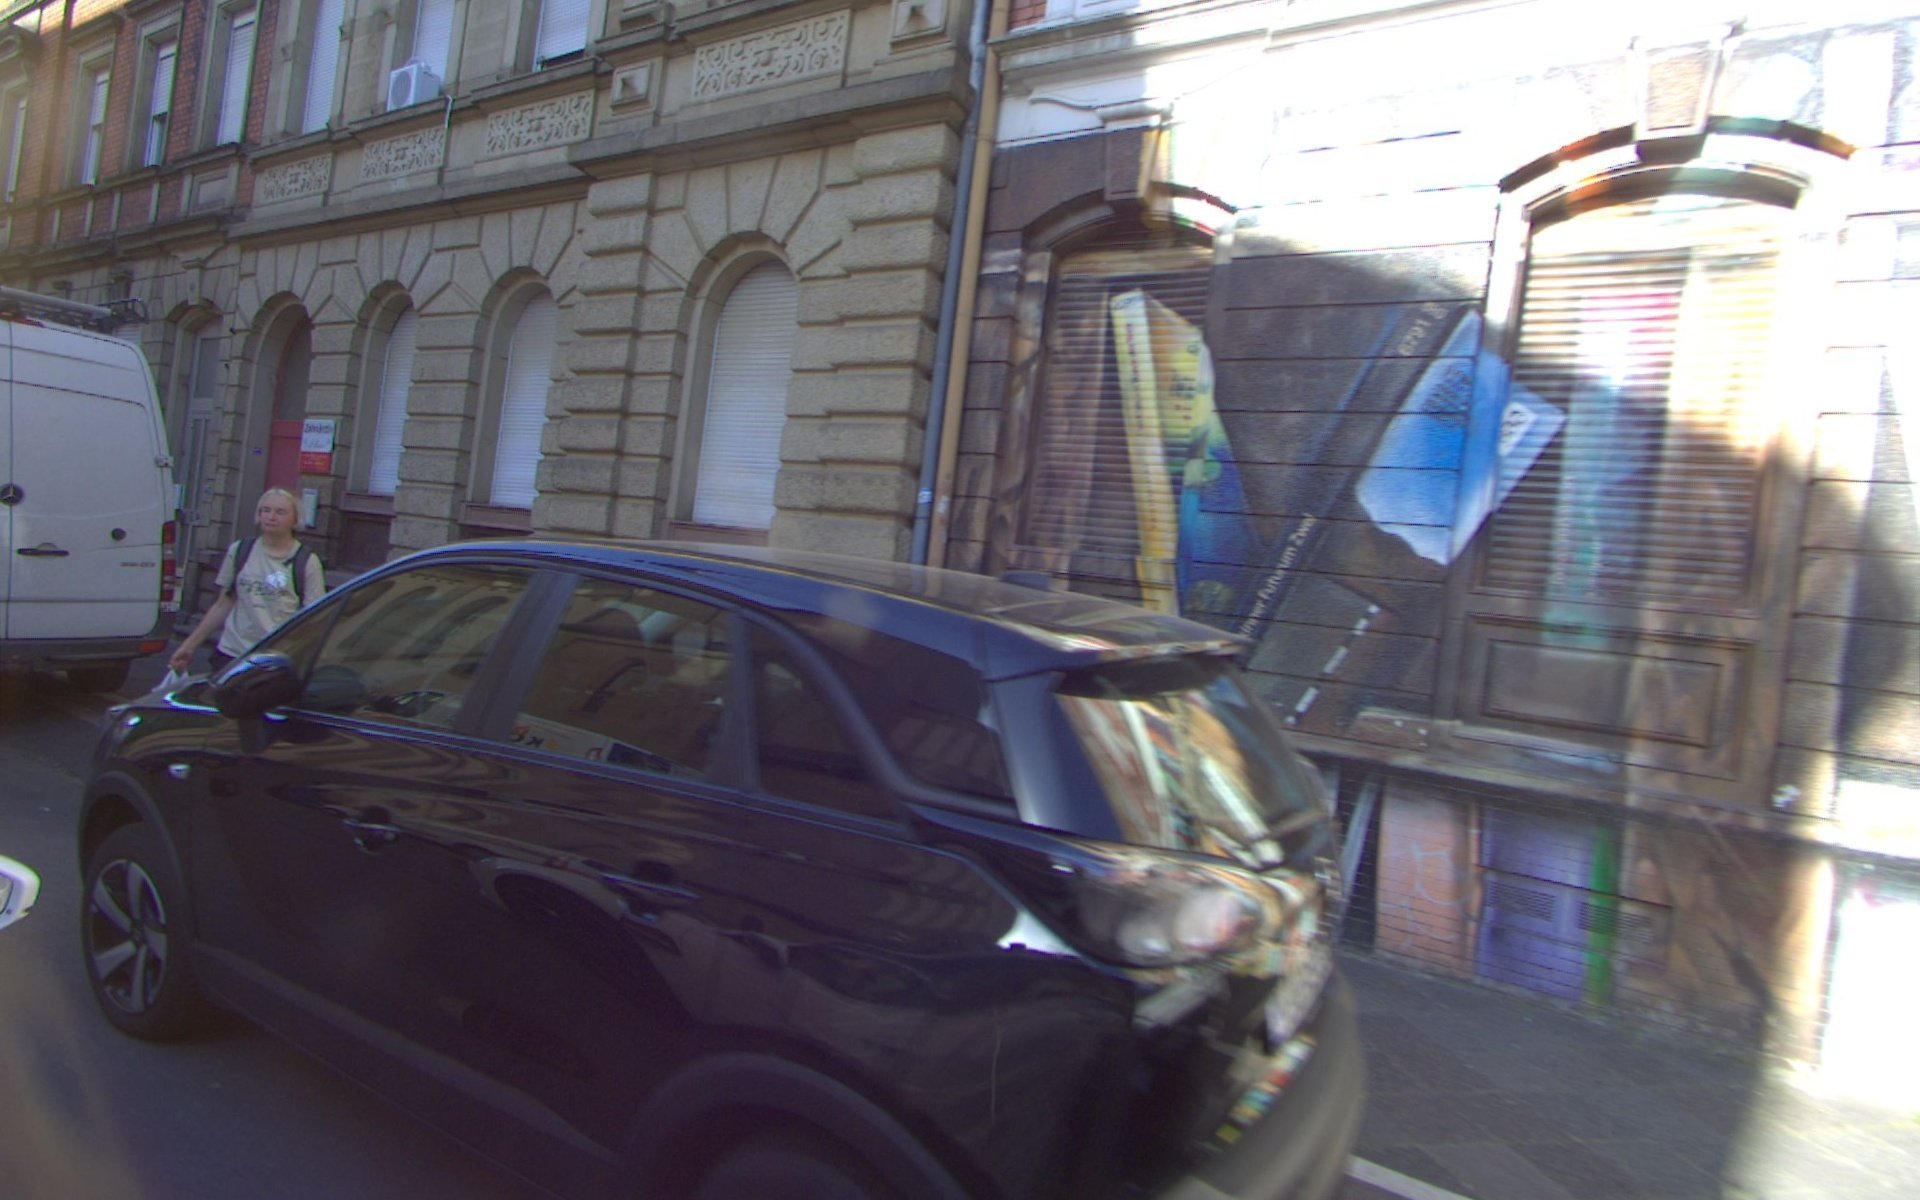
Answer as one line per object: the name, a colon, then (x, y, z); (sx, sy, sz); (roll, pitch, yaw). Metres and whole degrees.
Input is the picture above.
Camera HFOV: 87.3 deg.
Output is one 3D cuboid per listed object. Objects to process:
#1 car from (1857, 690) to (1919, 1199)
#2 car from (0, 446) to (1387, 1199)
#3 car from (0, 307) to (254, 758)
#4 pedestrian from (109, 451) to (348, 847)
car: (3.201, 1.120, 0.252); (4.145, 1.708, 1.812); (6, -3, 32)
car: (-1.034, 0.604, 2.947); (3.859, 1.662, 1.690); (7, -1, 32)
car: (-8.023, -0.664, 7.601); (5.790, 2.641, 2.072); (7, -1, 32)
pedestrian: (-3.605, 0.248, 5.033); (0.634, 1.792, 0.675); (8, -2, -25)
